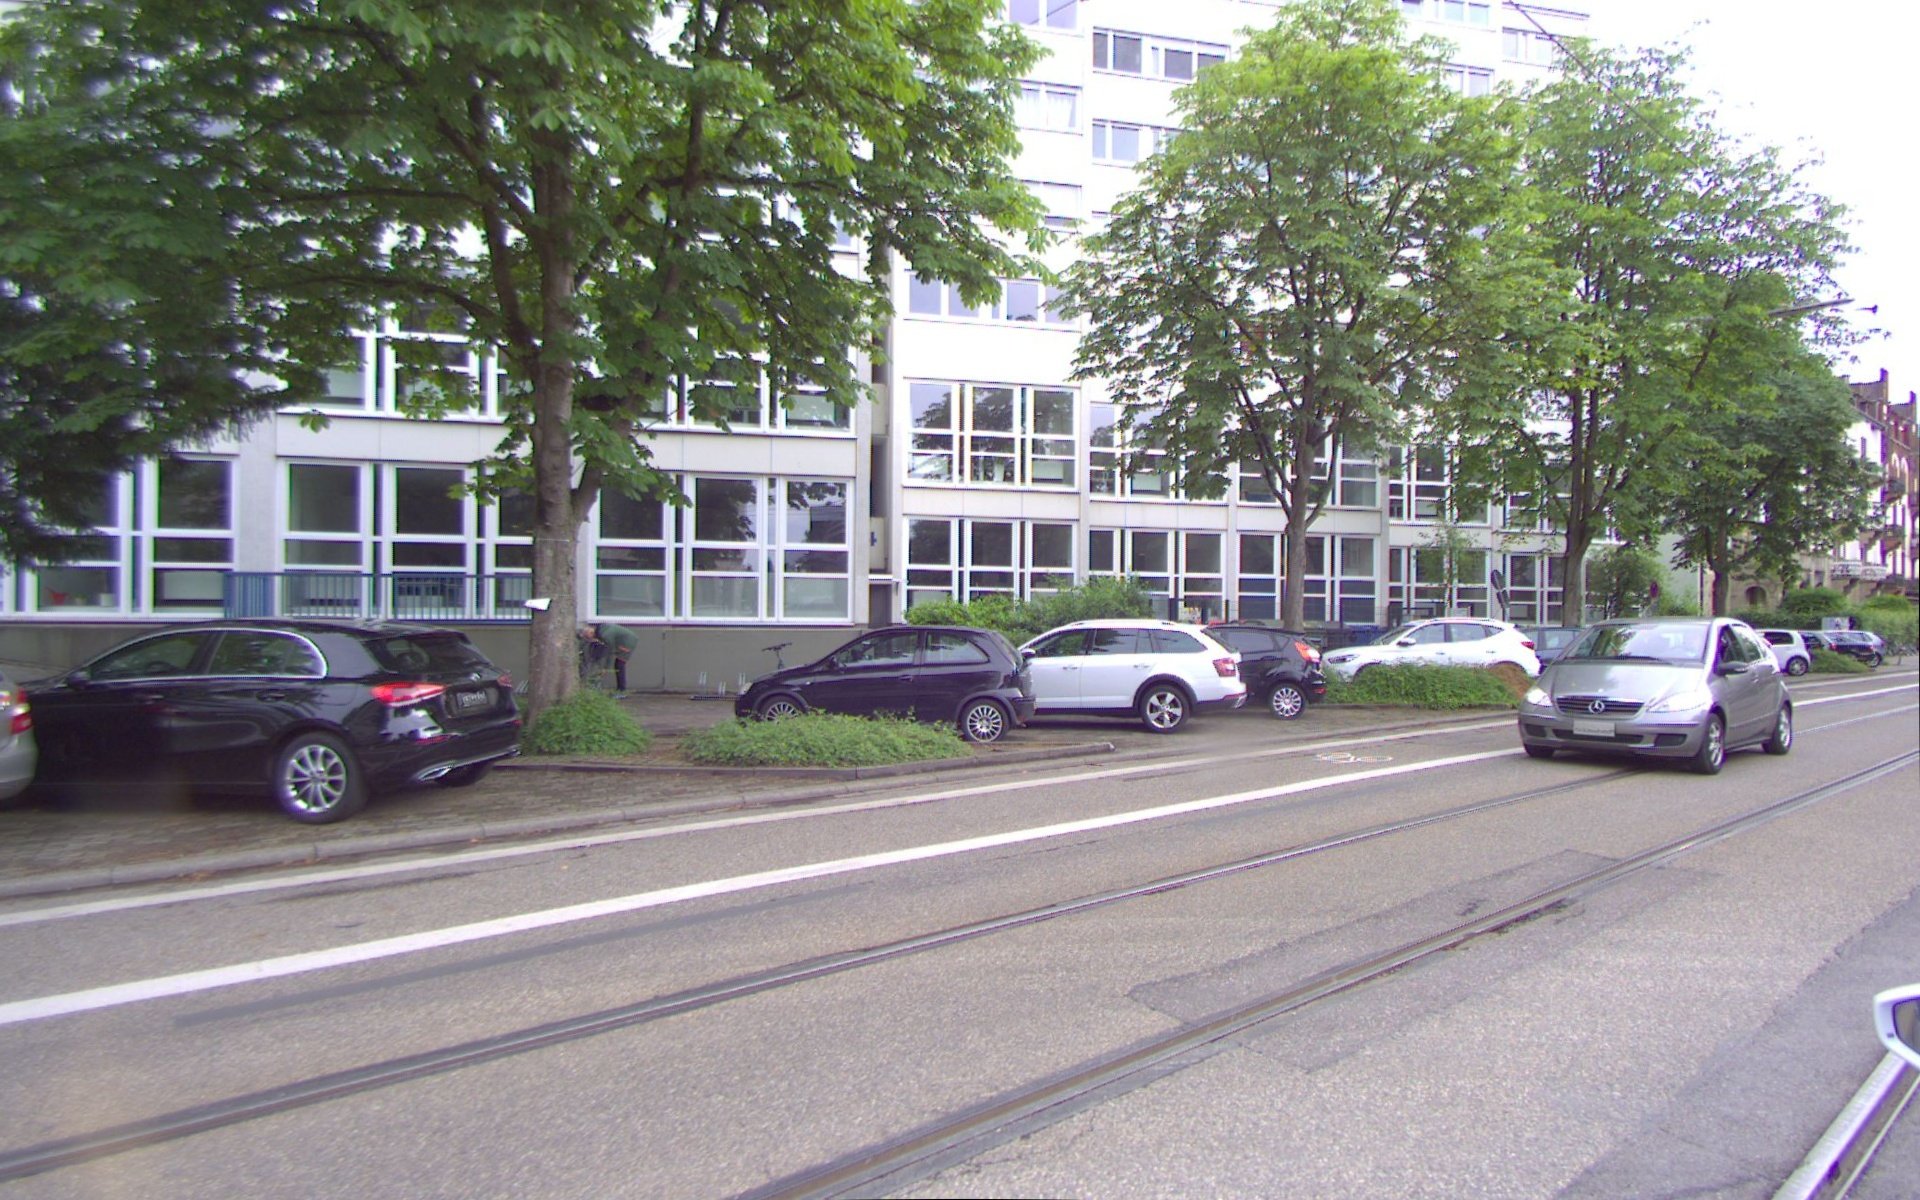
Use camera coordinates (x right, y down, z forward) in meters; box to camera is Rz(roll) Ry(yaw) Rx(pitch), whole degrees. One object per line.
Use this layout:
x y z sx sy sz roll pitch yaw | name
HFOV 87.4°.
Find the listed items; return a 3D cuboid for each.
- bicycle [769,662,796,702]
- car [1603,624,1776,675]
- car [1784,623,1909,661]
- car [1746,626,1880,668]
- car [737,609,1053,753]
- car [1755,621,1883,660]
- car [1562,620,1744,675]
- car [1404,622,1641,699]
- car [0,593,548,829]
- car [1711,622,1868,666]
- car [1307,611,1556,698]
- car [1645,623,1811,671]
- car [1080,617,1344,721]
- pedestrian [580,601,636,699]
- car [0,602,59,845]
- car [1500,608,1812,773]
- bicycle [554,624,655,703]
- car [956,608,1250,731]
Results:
-3.168 1.441 17.891 0.341 0.543 1.263 0 3 -17 | bicycle
22.168 1.474 30.647 3.888 1.370 1.701 1 0 7 | car
37.647 1.760 42.752 3.652 1.404 1.697 1 0 29 | car
33.025 1.796 39.036 3.652 1.404 1.697 1 0 29 | car
-0.721 0.932 12.535 3.630 1.544 1.701 1 0 8 | car
35.055 1.618 41.095 3.652 1.404 1.697 1 0 29 | car
19.622 1.326 28.595 3.888 1.370 1.701 1 0 7 | car
12.394 1.305 22.359 4.258 1.473 1.701 1 0 7 | car
-5.439 0.760 7.976 3.630 1.544 1.701 1 0 8 | car
28.954 1.518 35.159 3.888 1.370 1.701 1 0 7 | car
9.534 1.078 20.558 4.259 1.577 1.700 1 0 4 | car
24.651 1.496 32.359 3.888 1.370 1.701 1 0 7 | car
4.053 1.058 16.397 3.947 1.424 1.701 1 0 15 | car
-6.083 0.852 17.383 0.742 1.633 0.733 3 0 -10 | pedestrian
-7.945 0.753 6.220 3.577 1.544 1.574 1 0 8 | car
7.912 0.907 11.334 3.721 1.550 1.886 1 -2 -38 | car
-5.928 1.050 16.806 1.570 1.285 0.404 1 -1 -18 | bicycle
2.084 0.922 14.462 3.947 1.504 1.701 1 0 15 | car
